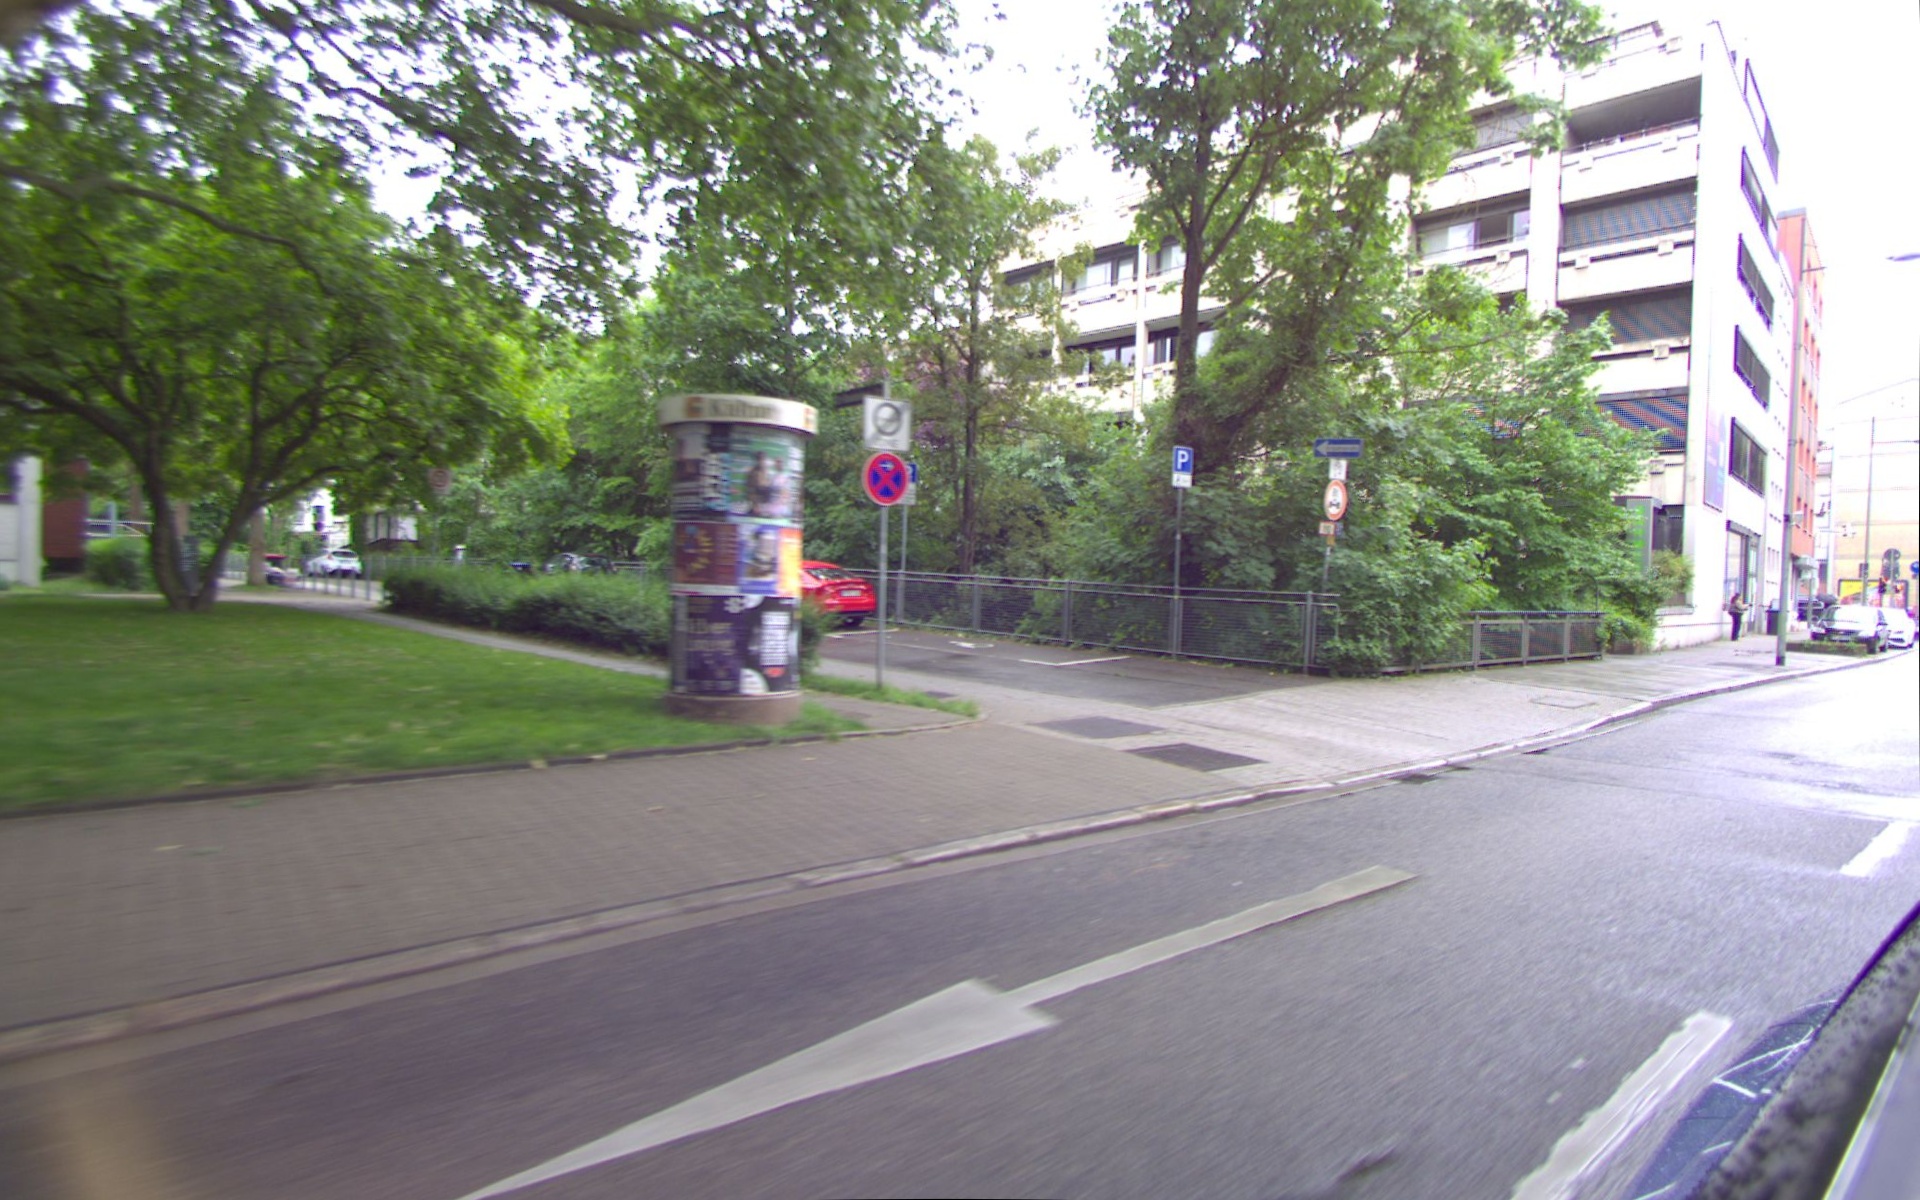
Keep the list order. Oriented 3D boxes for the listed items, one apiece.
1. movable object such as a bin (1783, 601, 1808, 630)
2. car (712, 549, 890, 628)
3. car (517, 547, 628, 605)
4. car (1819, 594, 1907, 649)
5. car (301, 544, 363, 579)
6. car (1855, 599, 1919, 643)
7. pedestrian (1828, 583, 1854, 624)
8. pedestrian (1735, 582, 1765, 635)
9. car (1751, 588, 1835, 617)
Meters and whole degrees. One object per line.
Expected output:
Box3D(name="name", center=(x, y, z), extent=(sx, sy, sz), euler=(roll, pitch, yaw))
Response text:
Box3D(name="movable object such as a bin", center=(33.655, 0.629, 40.754), extent=(0.505, 1.117, 0.680), euler=(1, 1, -43))
Box3D(name="car", center=(-3.564, -0.315, 22.230), extent=(3.989, 1.499, 1.847), euler=(4, 4, 44))
Box3D(name="car", center=(-11.886, -0.765, 30.940), extent=(1.707, 1.590, 3.924), euler=(0, 3, -45))
Box3D(name="car", center=(29.057, 0.645, 32.534), extent=(3.741, 1.577, 1.705), euler=(0, 3, -43))
Box3D(name="car", center=(-31.175, -1.910, 50.184), extent=(3.922, 1.590, 1.708), euler=(4, 3, 44))
Box3D(name="car", center=(34.052, 0.734, 36.776), extent=(4.493, 1.437, 1.833), euler=(0, 3, -43))
Box3D(name="pedestrian", center=(47.764, 0.156, 54.874), extent=(0.797, 2.180, 0.732), euler=(2, 1, 26))
Box3D(name="pedestrian", center=(26.240, 0.278, 33.618), extent=(0.598, 1.679, 0.681), euler=(6, 4, 42))
Box3D(name="car", center=(55.305, 0.153, 67.225), extent=(1.846, 1.705, 3.996), euler=(1, 2, -40))
